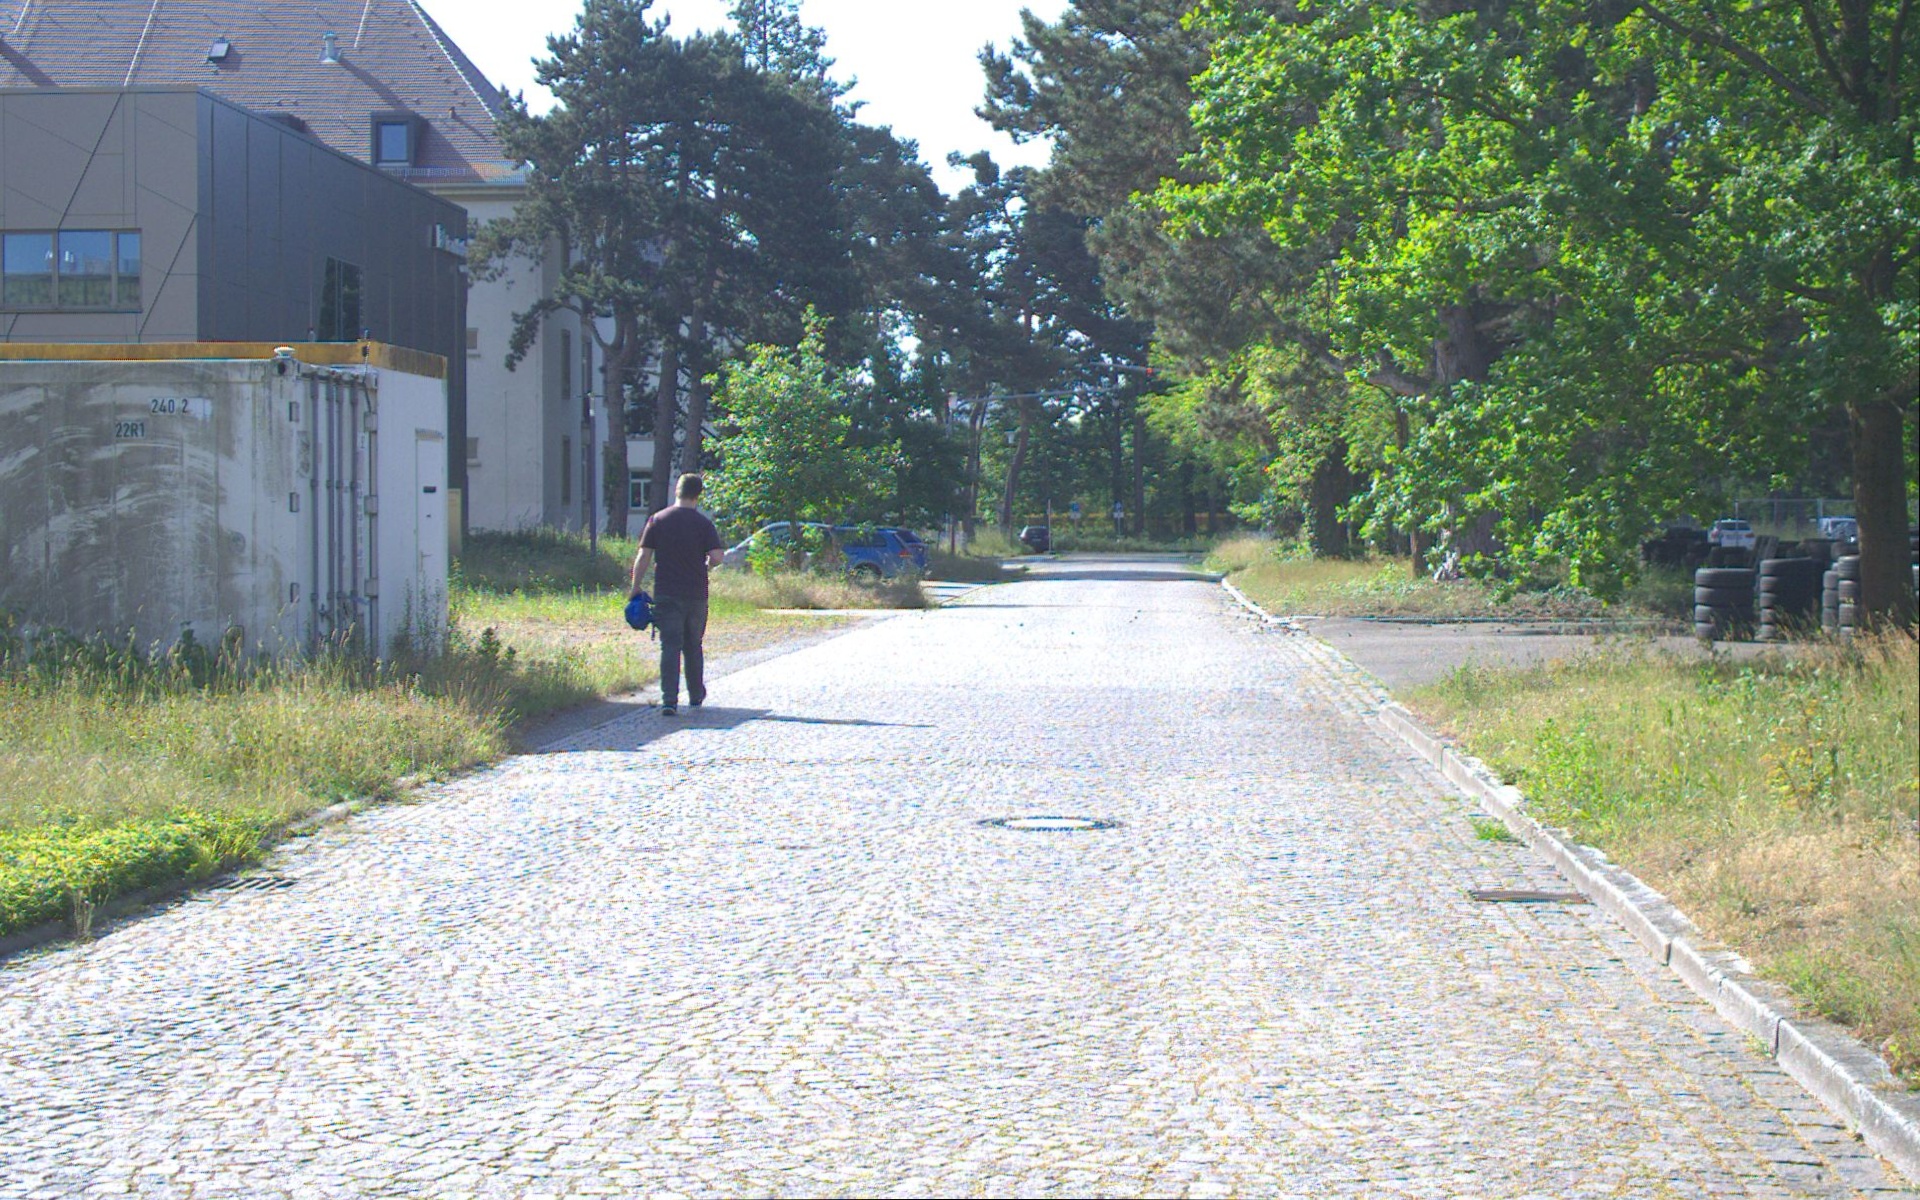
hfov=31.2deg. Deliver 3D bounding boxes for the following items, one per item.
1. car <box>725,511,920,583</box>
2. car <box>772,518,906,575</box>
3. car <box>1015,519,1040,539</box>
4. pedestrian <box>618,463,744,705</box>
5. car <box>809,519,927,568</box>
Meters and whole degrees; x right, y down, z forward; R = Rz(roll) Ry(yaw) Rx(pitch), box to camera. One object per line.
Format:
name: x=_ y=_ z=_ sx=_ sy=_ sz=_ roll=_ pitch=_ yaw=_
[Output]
car: x=-2.746 y=-1.073 z=69.200 sx=3.833 sy=1.436 sz=1.583 roll=0 pitch=1 yaw=1
car: x=-2.706 y=-1.189 z=76.494 sx=2.901 sy=1.255 sz=1.288 roll=0 pitch=1 yaw=-5
car: x=3.747 y=-3.963 z=191.655 sx=1.369 sy=1.095 sz=2.863 roll=0 pitch=1 yaw=0
pedestrian: x=-2.110 y=-0.130 z=26.092 sx=0.795 sy=1.774 sz=1.068 roll=2 pitch=1 yaw=2
car: x=-2.310 y=-1.413 z=85.908 sx=2.853 sy=1.202 sz=1.374 roll=0 pitch=1 yaw=-5
